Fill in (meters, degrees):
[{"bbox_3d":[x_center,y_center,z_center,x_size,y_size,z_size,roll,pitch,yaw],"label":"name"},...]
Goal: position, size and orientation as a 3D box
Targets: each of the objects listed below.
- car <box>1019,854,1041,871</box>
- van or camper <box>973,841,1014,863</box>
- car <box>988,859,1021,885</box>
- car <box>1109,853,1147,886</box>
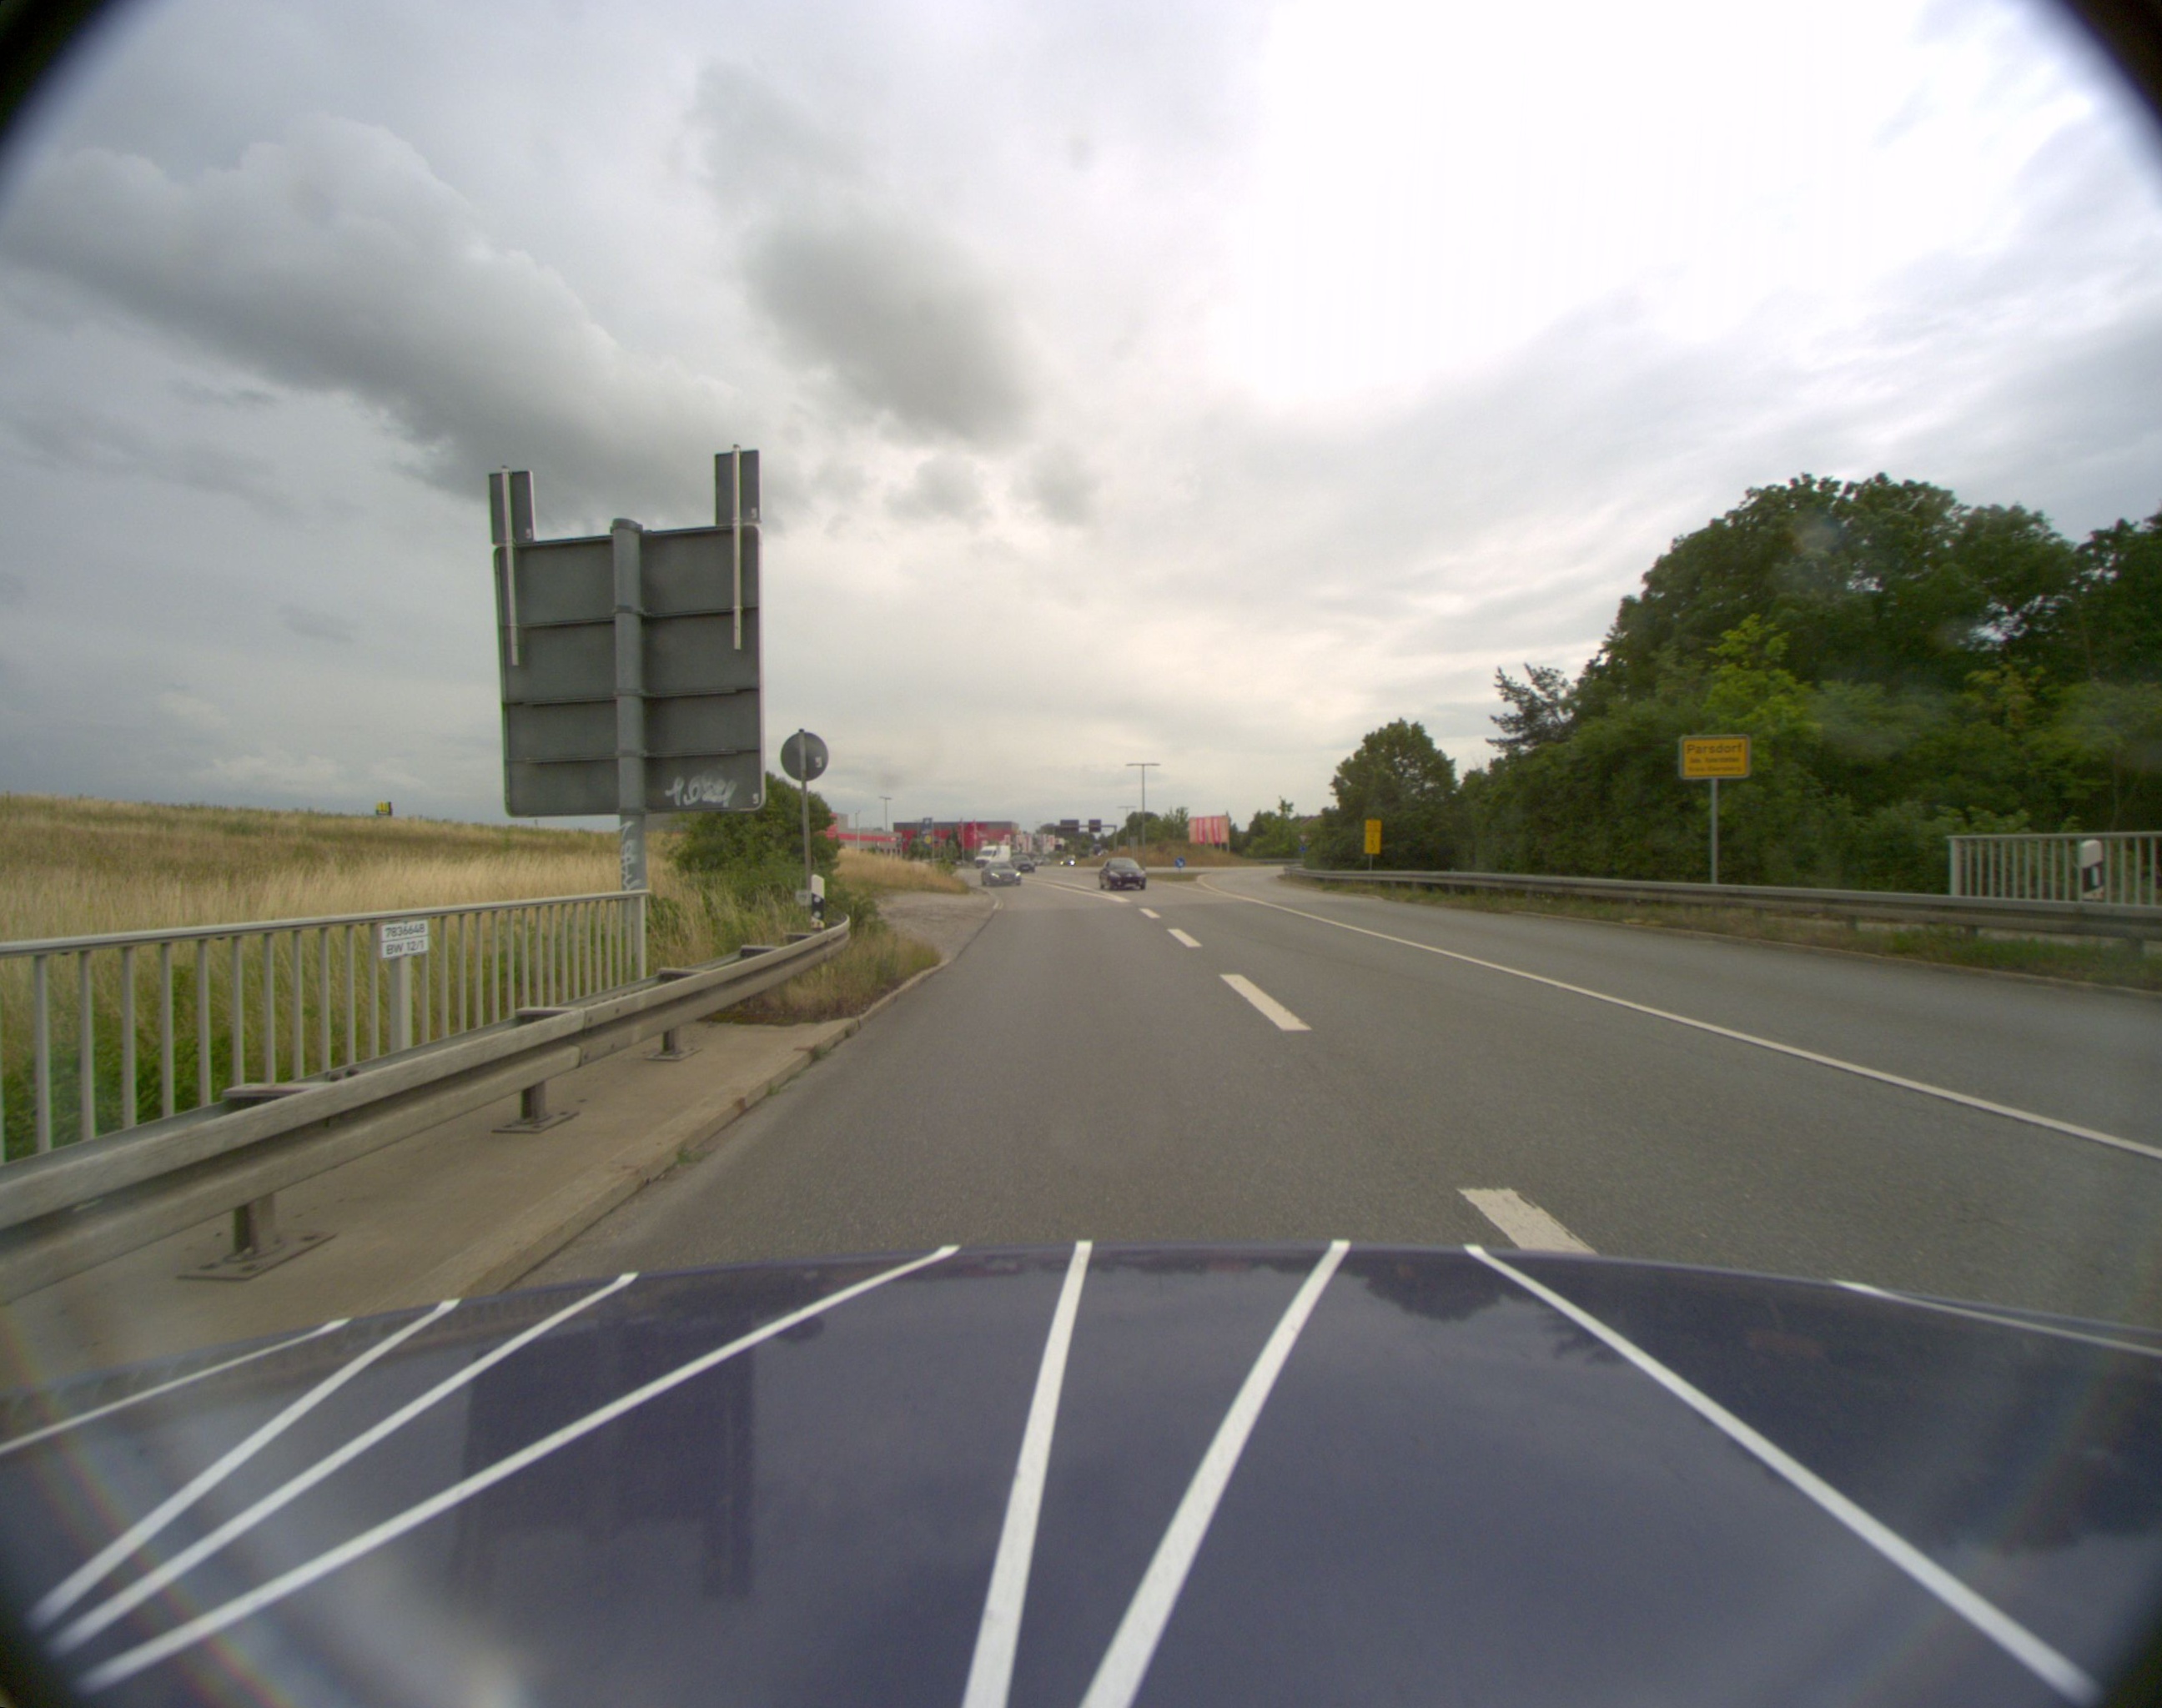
[{"bbox_3d":[-4.249,0.679,63.762,1.579,1.261,3.313,-2,1,0],"label":"car"},{"bbox_3d":[-10.070,-0.241,88.180,2.048,2.350,5.550,-1,1,26],"label":"van or camper"},{"bbox_3d":[-4.637,1.067,45.717,1.765,1.411,4.088,-3,0,-8],"label":"car"},{"bbox_3d":[2.170,0.698,35.775,1.580,1.346,3.823,-3,1,1],"label":"car"}]
